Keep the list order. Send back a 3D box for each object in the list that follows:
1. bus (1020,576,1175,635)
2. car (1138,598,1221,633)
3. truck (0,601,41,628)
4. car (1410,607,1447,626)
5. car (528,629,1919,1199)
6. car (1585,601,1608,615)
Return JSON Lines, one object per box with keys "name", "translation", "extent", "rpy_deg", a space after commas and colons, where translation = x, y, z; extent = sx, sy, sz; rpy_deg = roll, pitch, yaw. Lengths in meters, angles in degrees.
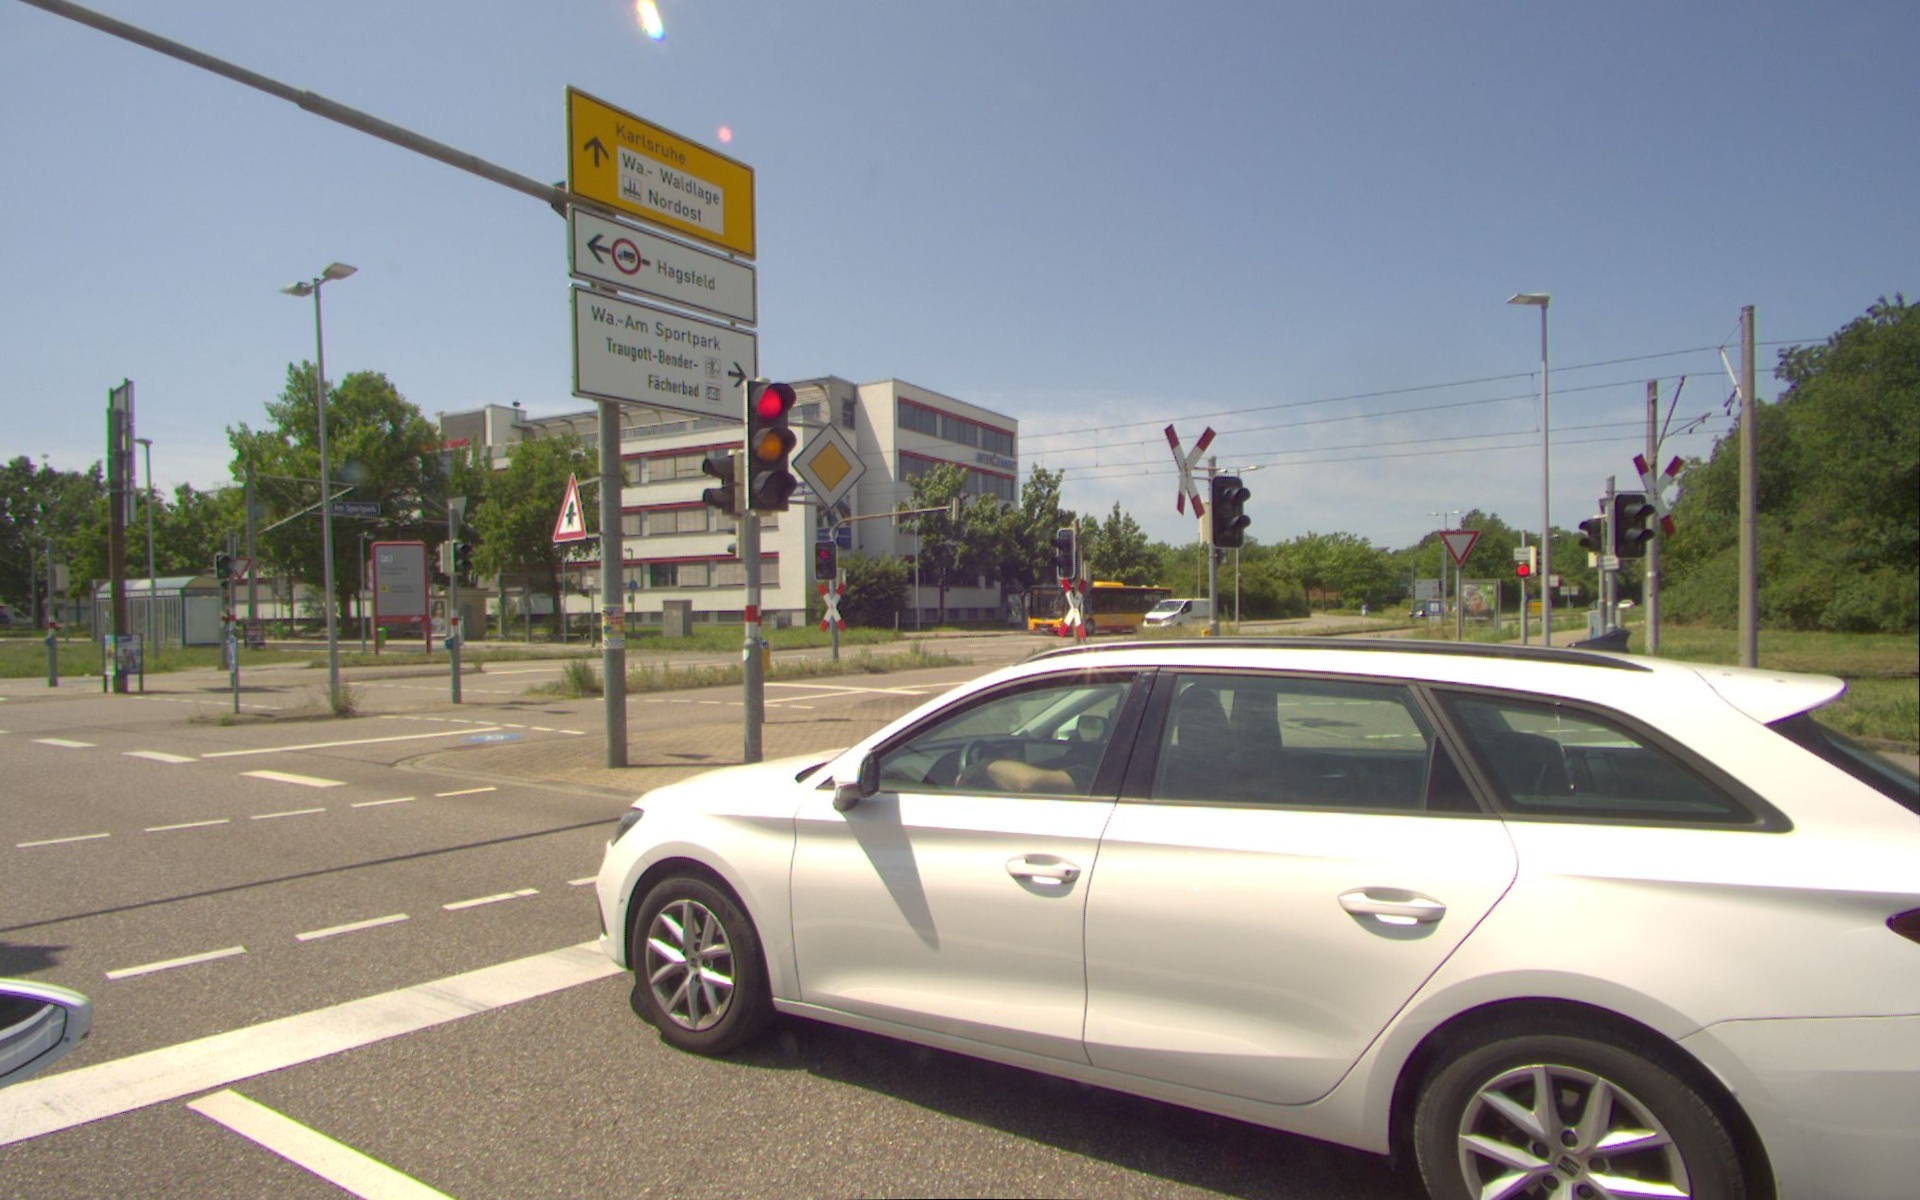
{"name": "bus", "translation": [8.391, 0.419, 59.234], "extent": [2.808, 3.159, 11.977], "rpy_deg": [-2, -2, 42]}
{"name": "car", "translation": [11.696, 0.881, 53.164], "extent": [5.021, 1.750, 1.811], "rpy_deg": [2, -2, -43]}
{"name": "truck", "translation": [-104.662, 1.624, 109.332], "extent": [2.283, 2.881, 5.837], "rpy_deg": [-1, 1, 26]}
{"name": "car", "translation": [40.162, 1.393, 85.775], "extent": [1.656, 1.601, 3.964], "rpy_deg": [1, 0, 44]}
{"name": "car", "translation": [0.638, 0.829, 3.486], "extent": [4.384, 1.408, 1.680], "rpy_deg": [-1, -1, 30]}
{"name": "car", "translation": [81.093, 1.014, 127.544], "extent": [1.976, 1.813, 3.970], "rpy_deg": [0, -1, 39]}
